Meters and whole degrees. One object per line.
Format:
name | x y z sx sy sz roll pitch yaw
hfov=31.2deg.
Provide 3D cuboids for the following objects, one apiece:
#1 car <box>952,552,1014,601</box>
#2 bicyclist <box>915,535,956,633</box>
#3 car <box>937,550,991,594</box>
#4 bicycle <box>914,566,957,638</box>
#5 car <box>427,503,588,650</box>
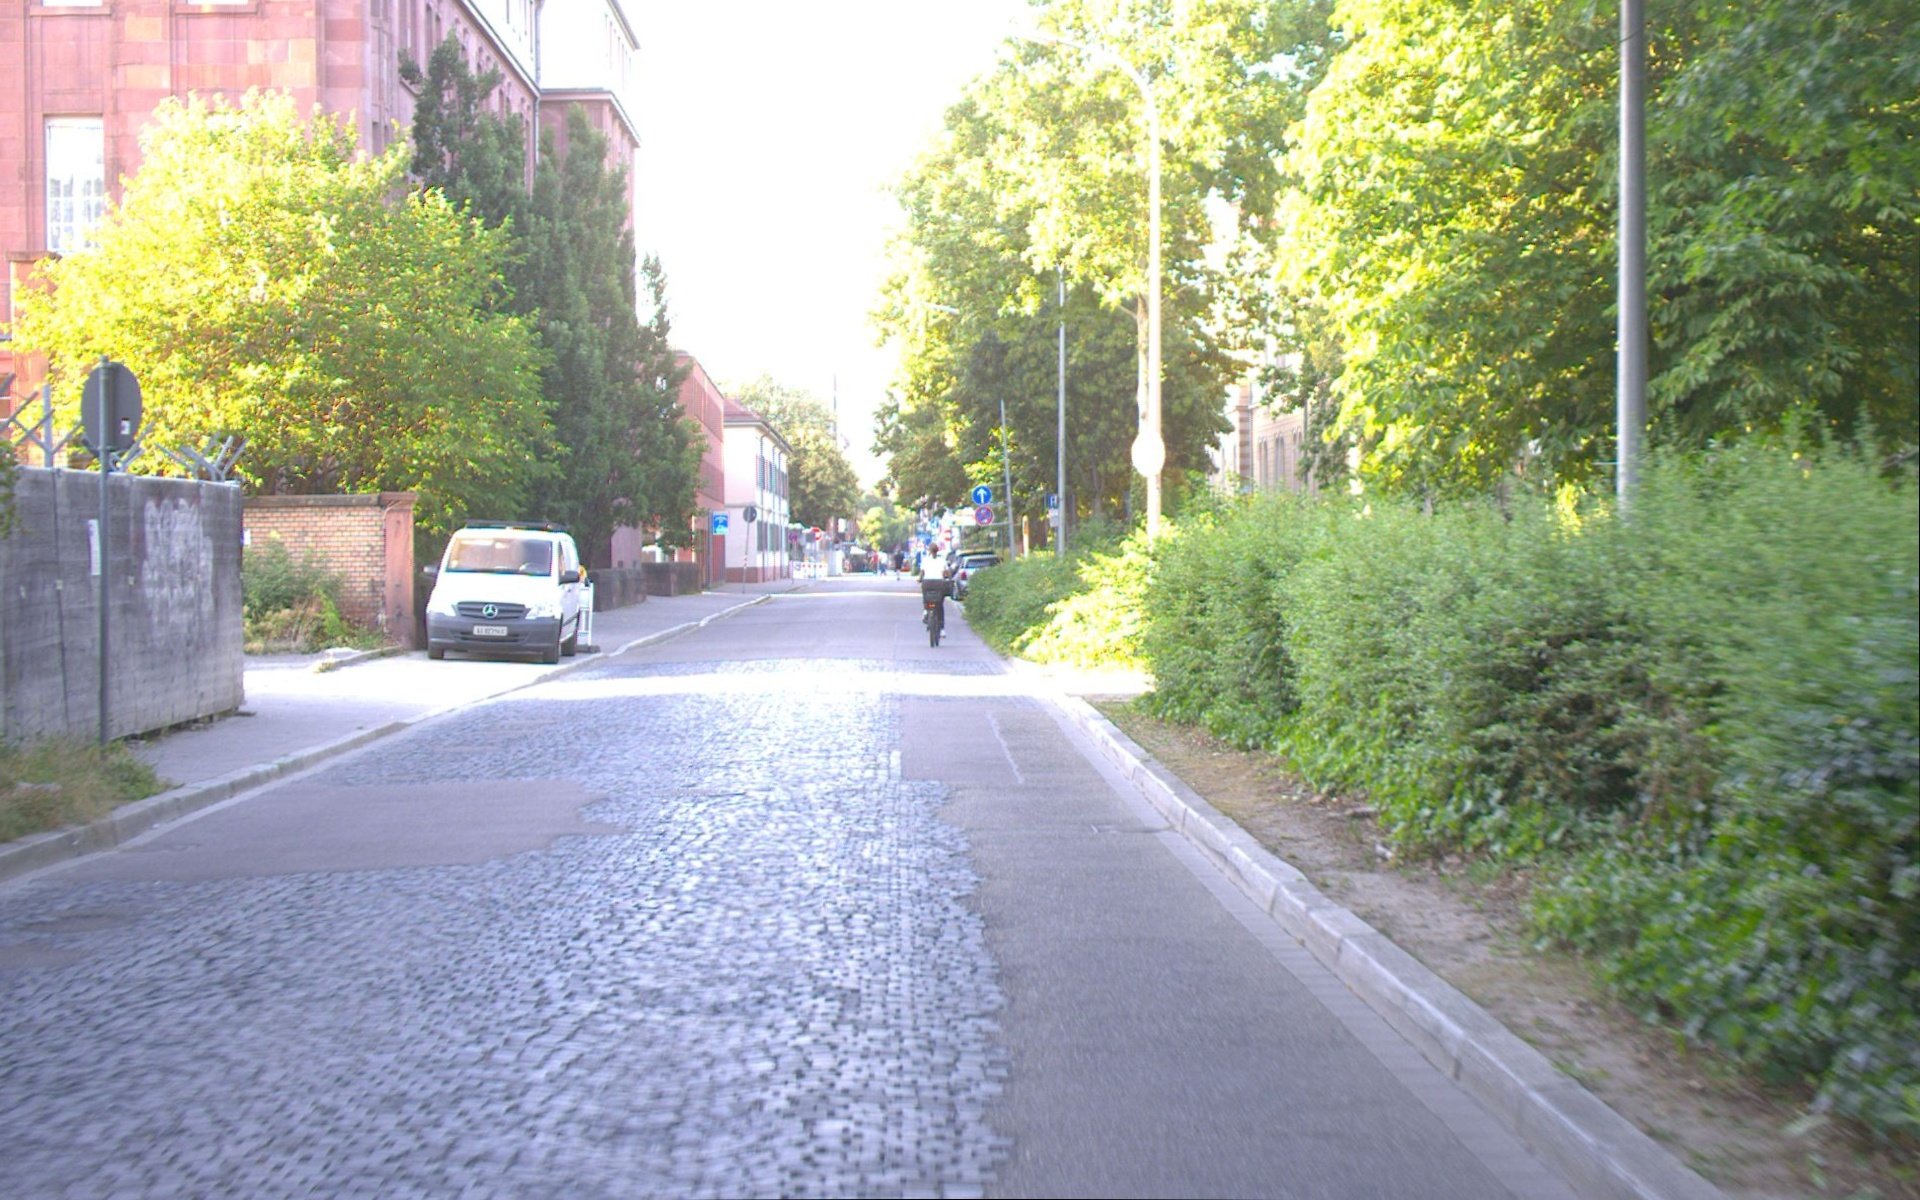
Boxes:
car | 0.710 -0.740 109.761 1.685 1.442 3.672 -3 0 -3
bicyclist | -0.419 -0.279 58.720 0.639 1.661 0.843 1 1 -3
car | 0.137 -1.018 123.913 1.715 1.532 4.049 -1 1 -3
bicycle | -0.426 0.031 58.750 0.638 1.189 1.876 1 1 -3
car | -6.566 -0.328 50.351 1.882 2.007 5.226 1 0 -3
